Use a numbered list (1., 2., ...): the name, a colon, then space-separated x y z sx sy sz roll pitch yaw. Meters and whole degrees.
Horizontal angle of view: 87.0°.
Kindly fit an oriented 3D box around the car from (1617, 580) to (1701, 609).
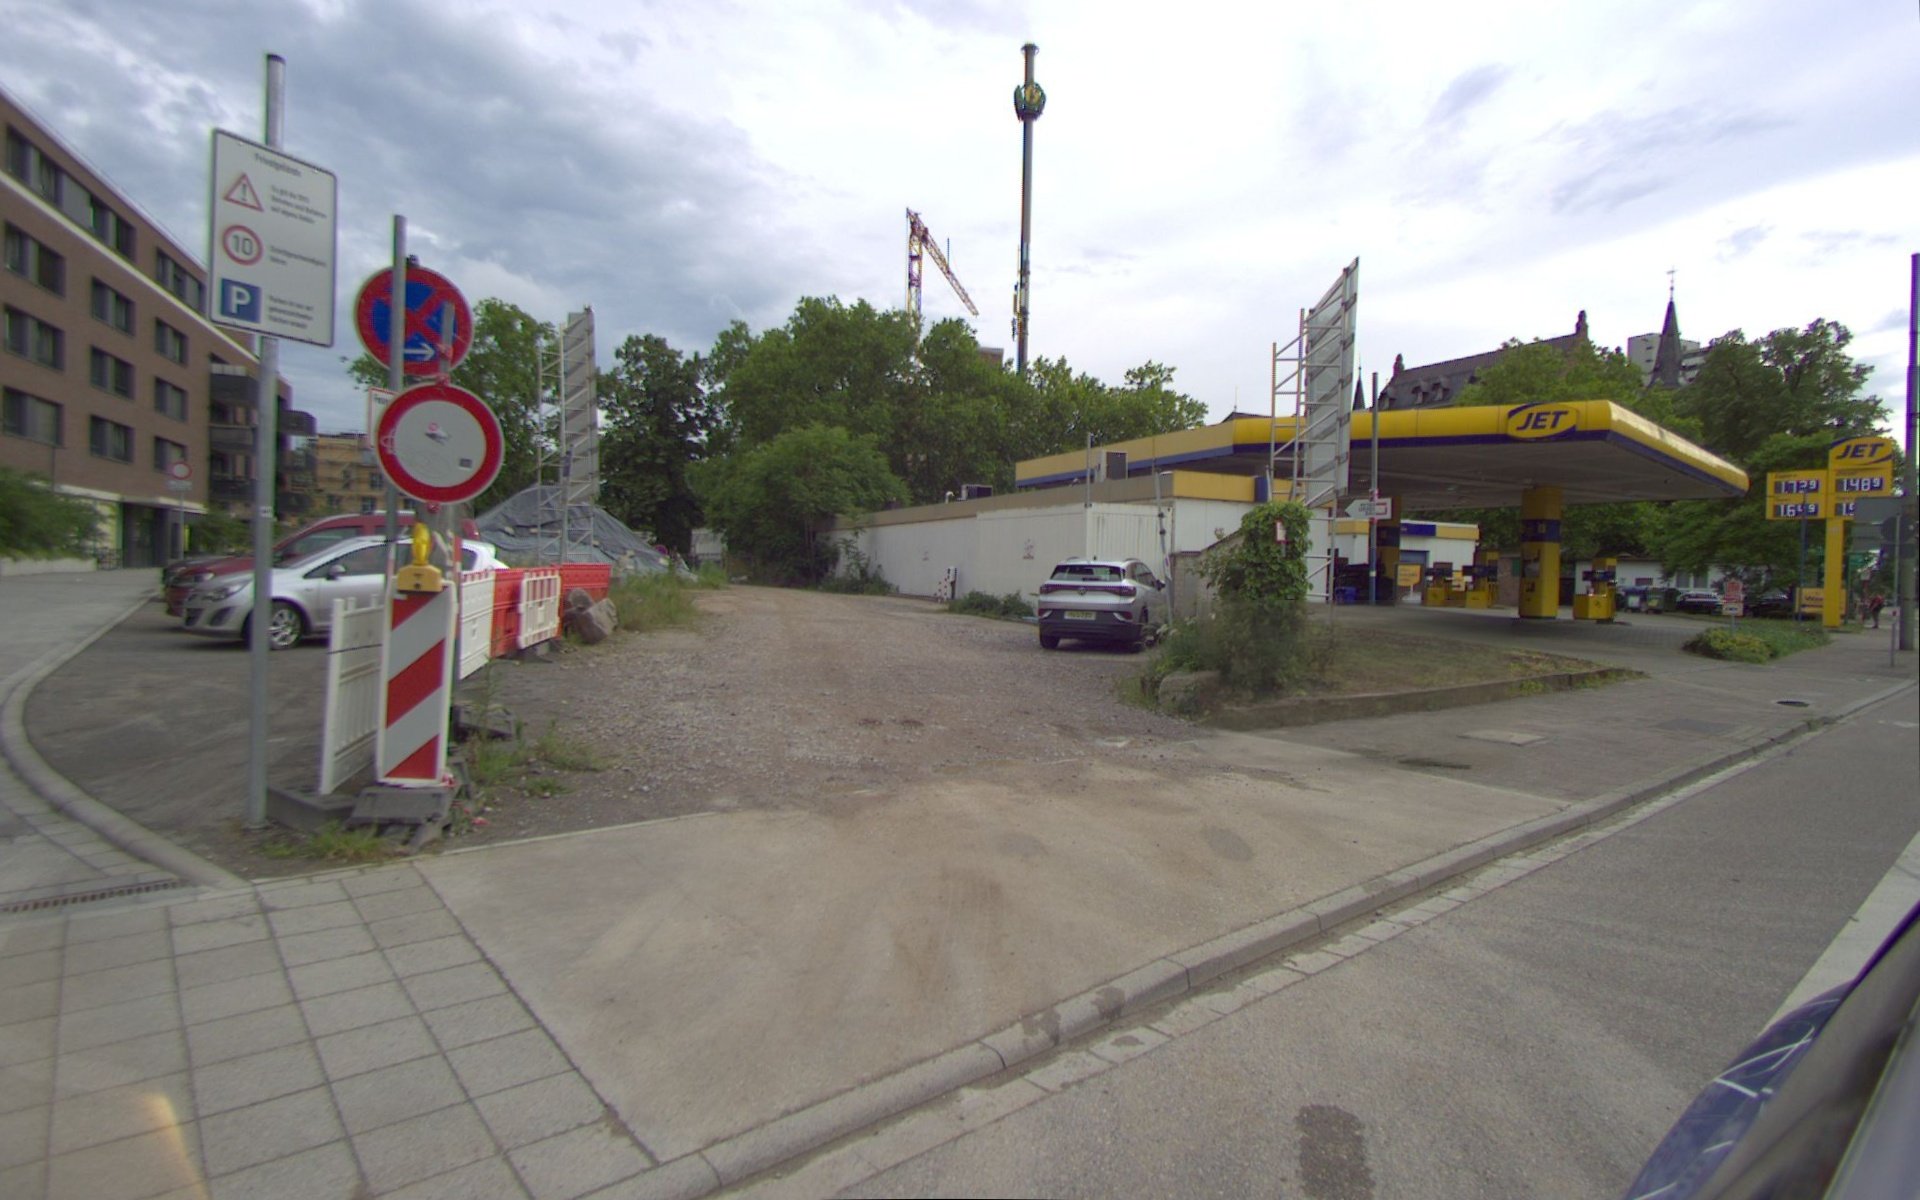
1. car: 42.278 -0.356 61.270 3.986 1.687 1.969 1 1 43

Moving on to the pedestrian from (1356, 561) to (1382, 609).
1. pedestrian: 15.765 -0.585 39.035 0.614 1.809 0.709 0 1 -20

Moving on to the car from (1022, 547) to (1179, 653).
1. car: 2.664 -0.093 18.377 1.976 1.657 3.924 2 3 20

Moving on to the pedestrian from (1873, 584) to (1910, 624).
1. pedestrian: 44.116 0.192 47.925 0.858 1.768 0.847 4 4 17

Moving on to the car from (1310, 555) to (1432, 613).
1. car: 15.231 -0.617 37.490 4.166 2.012 1.828 0 3 -26

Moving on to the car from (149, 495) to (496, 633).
1. car: -9.875 -0.563 15.876 4.345 1.867 1.926 -1 4 -43

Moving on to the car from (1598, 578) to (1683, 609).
1. car: 39.335 -0.376 58.528 3.942 1.716 1.816 0 1 -11

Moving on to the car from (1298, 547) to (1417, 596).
1. car: 17.142 -1.239 43.649 4.432 1.865 1.993 2 3 -18

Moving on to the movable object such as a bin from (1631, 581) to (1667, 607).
1. movable object such as a bin: 37.574 -0.329 55.176 1.136 1.375 1.123 0 1 -13

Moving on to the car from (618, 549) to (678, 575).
1. car: -22.783 -2.777 73.922 3.919 1.842 1.893 0 1 -29

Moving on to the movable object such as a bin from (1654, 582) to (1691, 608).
1. movable object such as a bin: 38.019 -0.273 53.996 1.136 1.336 1.123 0 1 -13

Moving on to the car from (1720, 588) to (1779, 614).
1. car: 41.648 0.041 53.360 3.935 1.304 1.995 -1 1 -44

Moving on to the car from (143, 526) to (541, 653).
1. car: -8.102 -0.183 13.525 4.275 1.435 1.765 -1 3 -43

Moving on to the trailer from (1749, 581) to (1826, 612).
1. trailer: 48.003 -0.214 58.736 3.282 1.549 1.747 5 5 43
